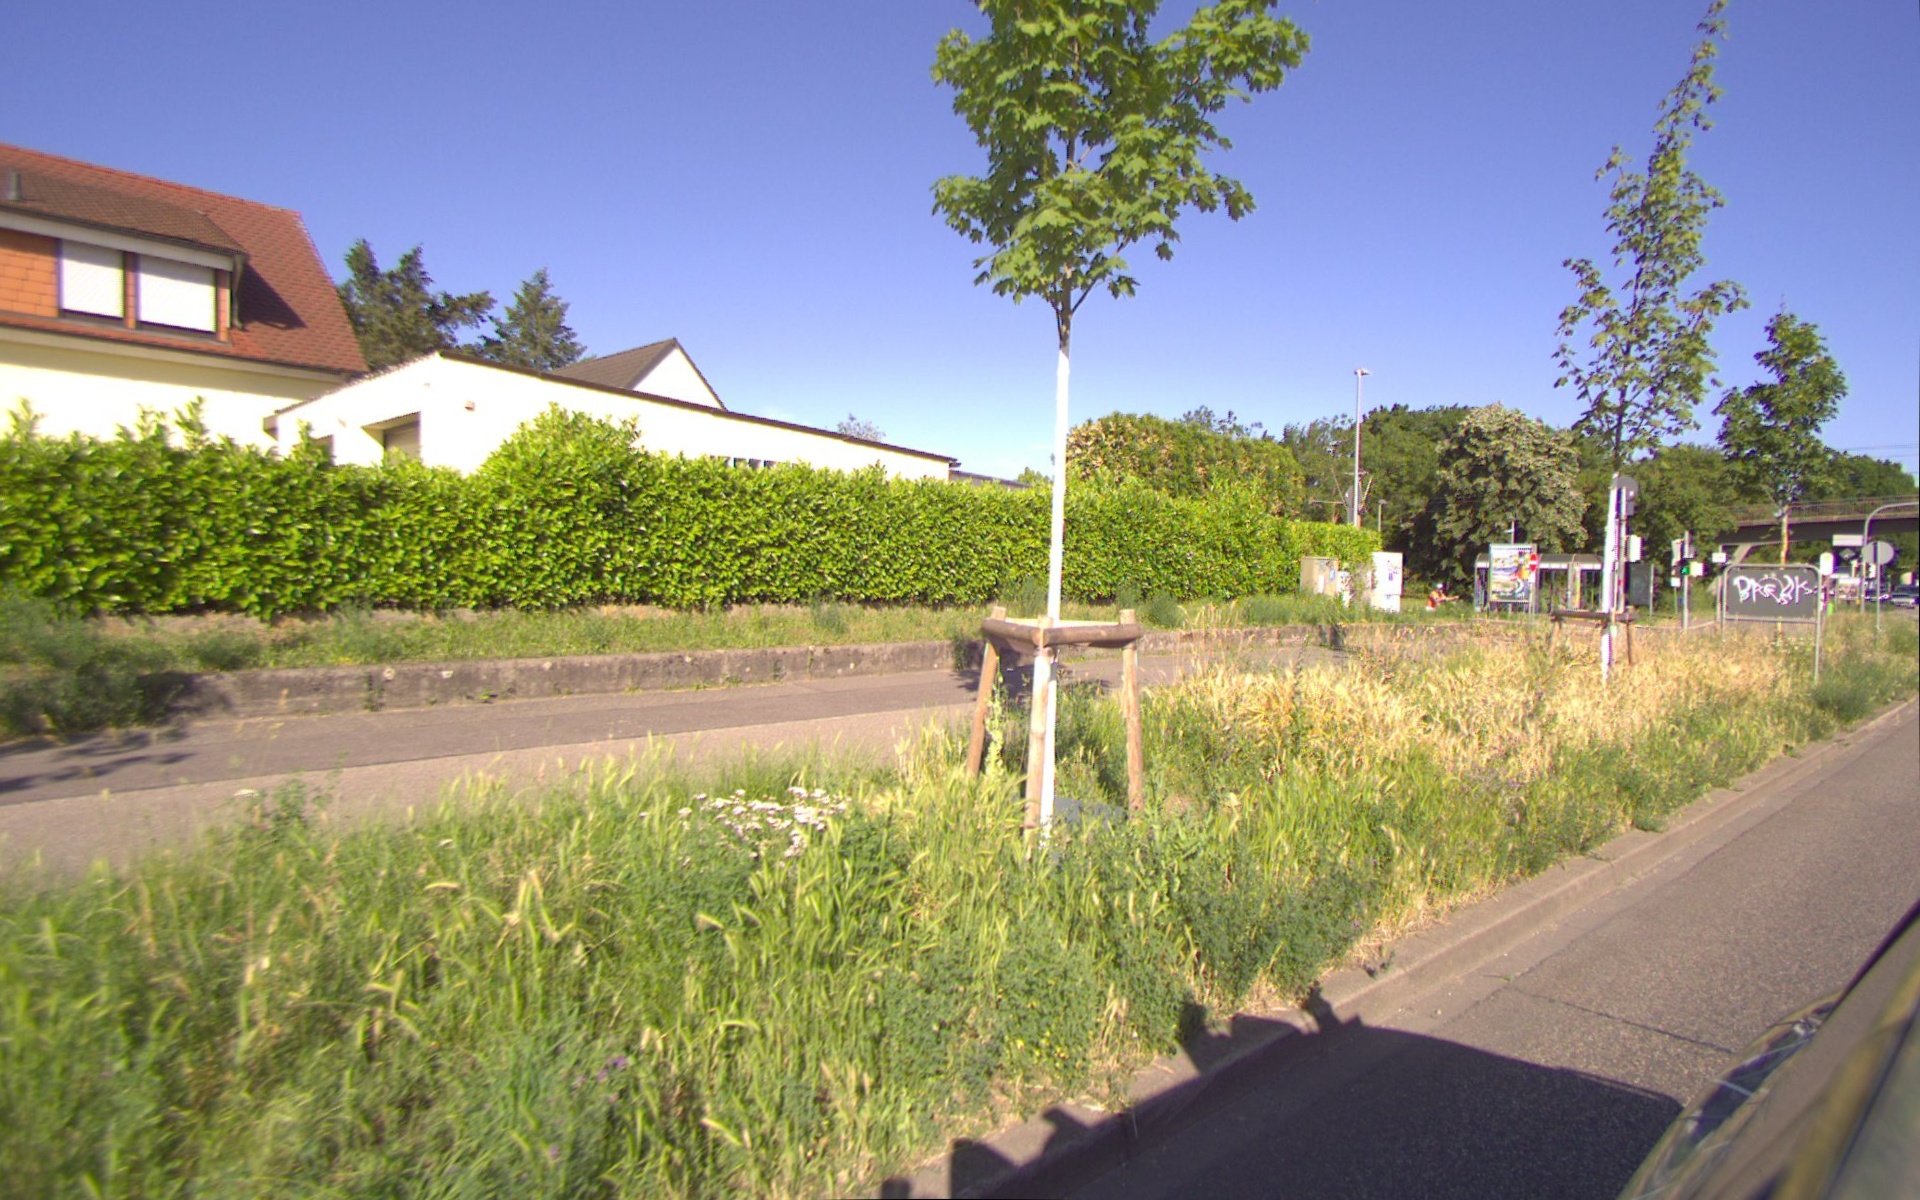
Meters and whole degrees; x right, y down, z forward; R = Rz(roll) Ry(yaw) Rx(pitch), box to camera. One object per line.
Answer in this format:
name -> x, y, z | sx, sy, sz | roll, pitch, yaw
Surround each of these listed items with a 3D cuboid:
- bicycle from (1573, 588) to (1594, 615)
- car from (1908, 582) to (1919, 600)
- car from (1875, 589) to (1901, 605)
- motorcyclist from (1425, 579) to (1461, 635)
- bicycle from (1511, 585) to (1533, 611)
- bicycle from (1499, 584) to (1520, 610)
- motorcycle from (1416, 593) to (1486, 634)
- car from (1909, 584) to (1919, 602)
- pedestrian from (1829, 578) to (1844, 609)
bicycle -> 29.097, 0.039, 47.221 | 0.430, 1.079, 1.758 | 4, 8, 45
car -> 93.078, -0.884, 97.856 | 1.867, 1.641, 3.780 | 1, 1, 41
car -> 102.554, -0.340, 111.885 | 1.865, 1.641, 3.783 | 1, 1, 39
motorcyclist -> 14.017, 0.181, 29.348 | 0.687, 1.577, 0.694 | 0, 2, -41
bicycle -> 27.327, -0.118, 49.214 | 0.430, 1.079, 1.758 | 4, 8, 45
bicycle -> 26.947, -0.164, 49.628 | 0.430, 1.079, 1.758 | 4, 8, 45
motorcycle -> 14.128, 0.368, 29.142 | 0.443, 1.084, 1.760 | 0, 2, -40
car -> 110.903, -0.839, 116.525 | 1.990, 2.039, 3.944 | 1, 1, 39
pedestrian -> 48.668, -0.352, 56.182 | 0.587, 1.683, 0.706 | 2, 1, 40
